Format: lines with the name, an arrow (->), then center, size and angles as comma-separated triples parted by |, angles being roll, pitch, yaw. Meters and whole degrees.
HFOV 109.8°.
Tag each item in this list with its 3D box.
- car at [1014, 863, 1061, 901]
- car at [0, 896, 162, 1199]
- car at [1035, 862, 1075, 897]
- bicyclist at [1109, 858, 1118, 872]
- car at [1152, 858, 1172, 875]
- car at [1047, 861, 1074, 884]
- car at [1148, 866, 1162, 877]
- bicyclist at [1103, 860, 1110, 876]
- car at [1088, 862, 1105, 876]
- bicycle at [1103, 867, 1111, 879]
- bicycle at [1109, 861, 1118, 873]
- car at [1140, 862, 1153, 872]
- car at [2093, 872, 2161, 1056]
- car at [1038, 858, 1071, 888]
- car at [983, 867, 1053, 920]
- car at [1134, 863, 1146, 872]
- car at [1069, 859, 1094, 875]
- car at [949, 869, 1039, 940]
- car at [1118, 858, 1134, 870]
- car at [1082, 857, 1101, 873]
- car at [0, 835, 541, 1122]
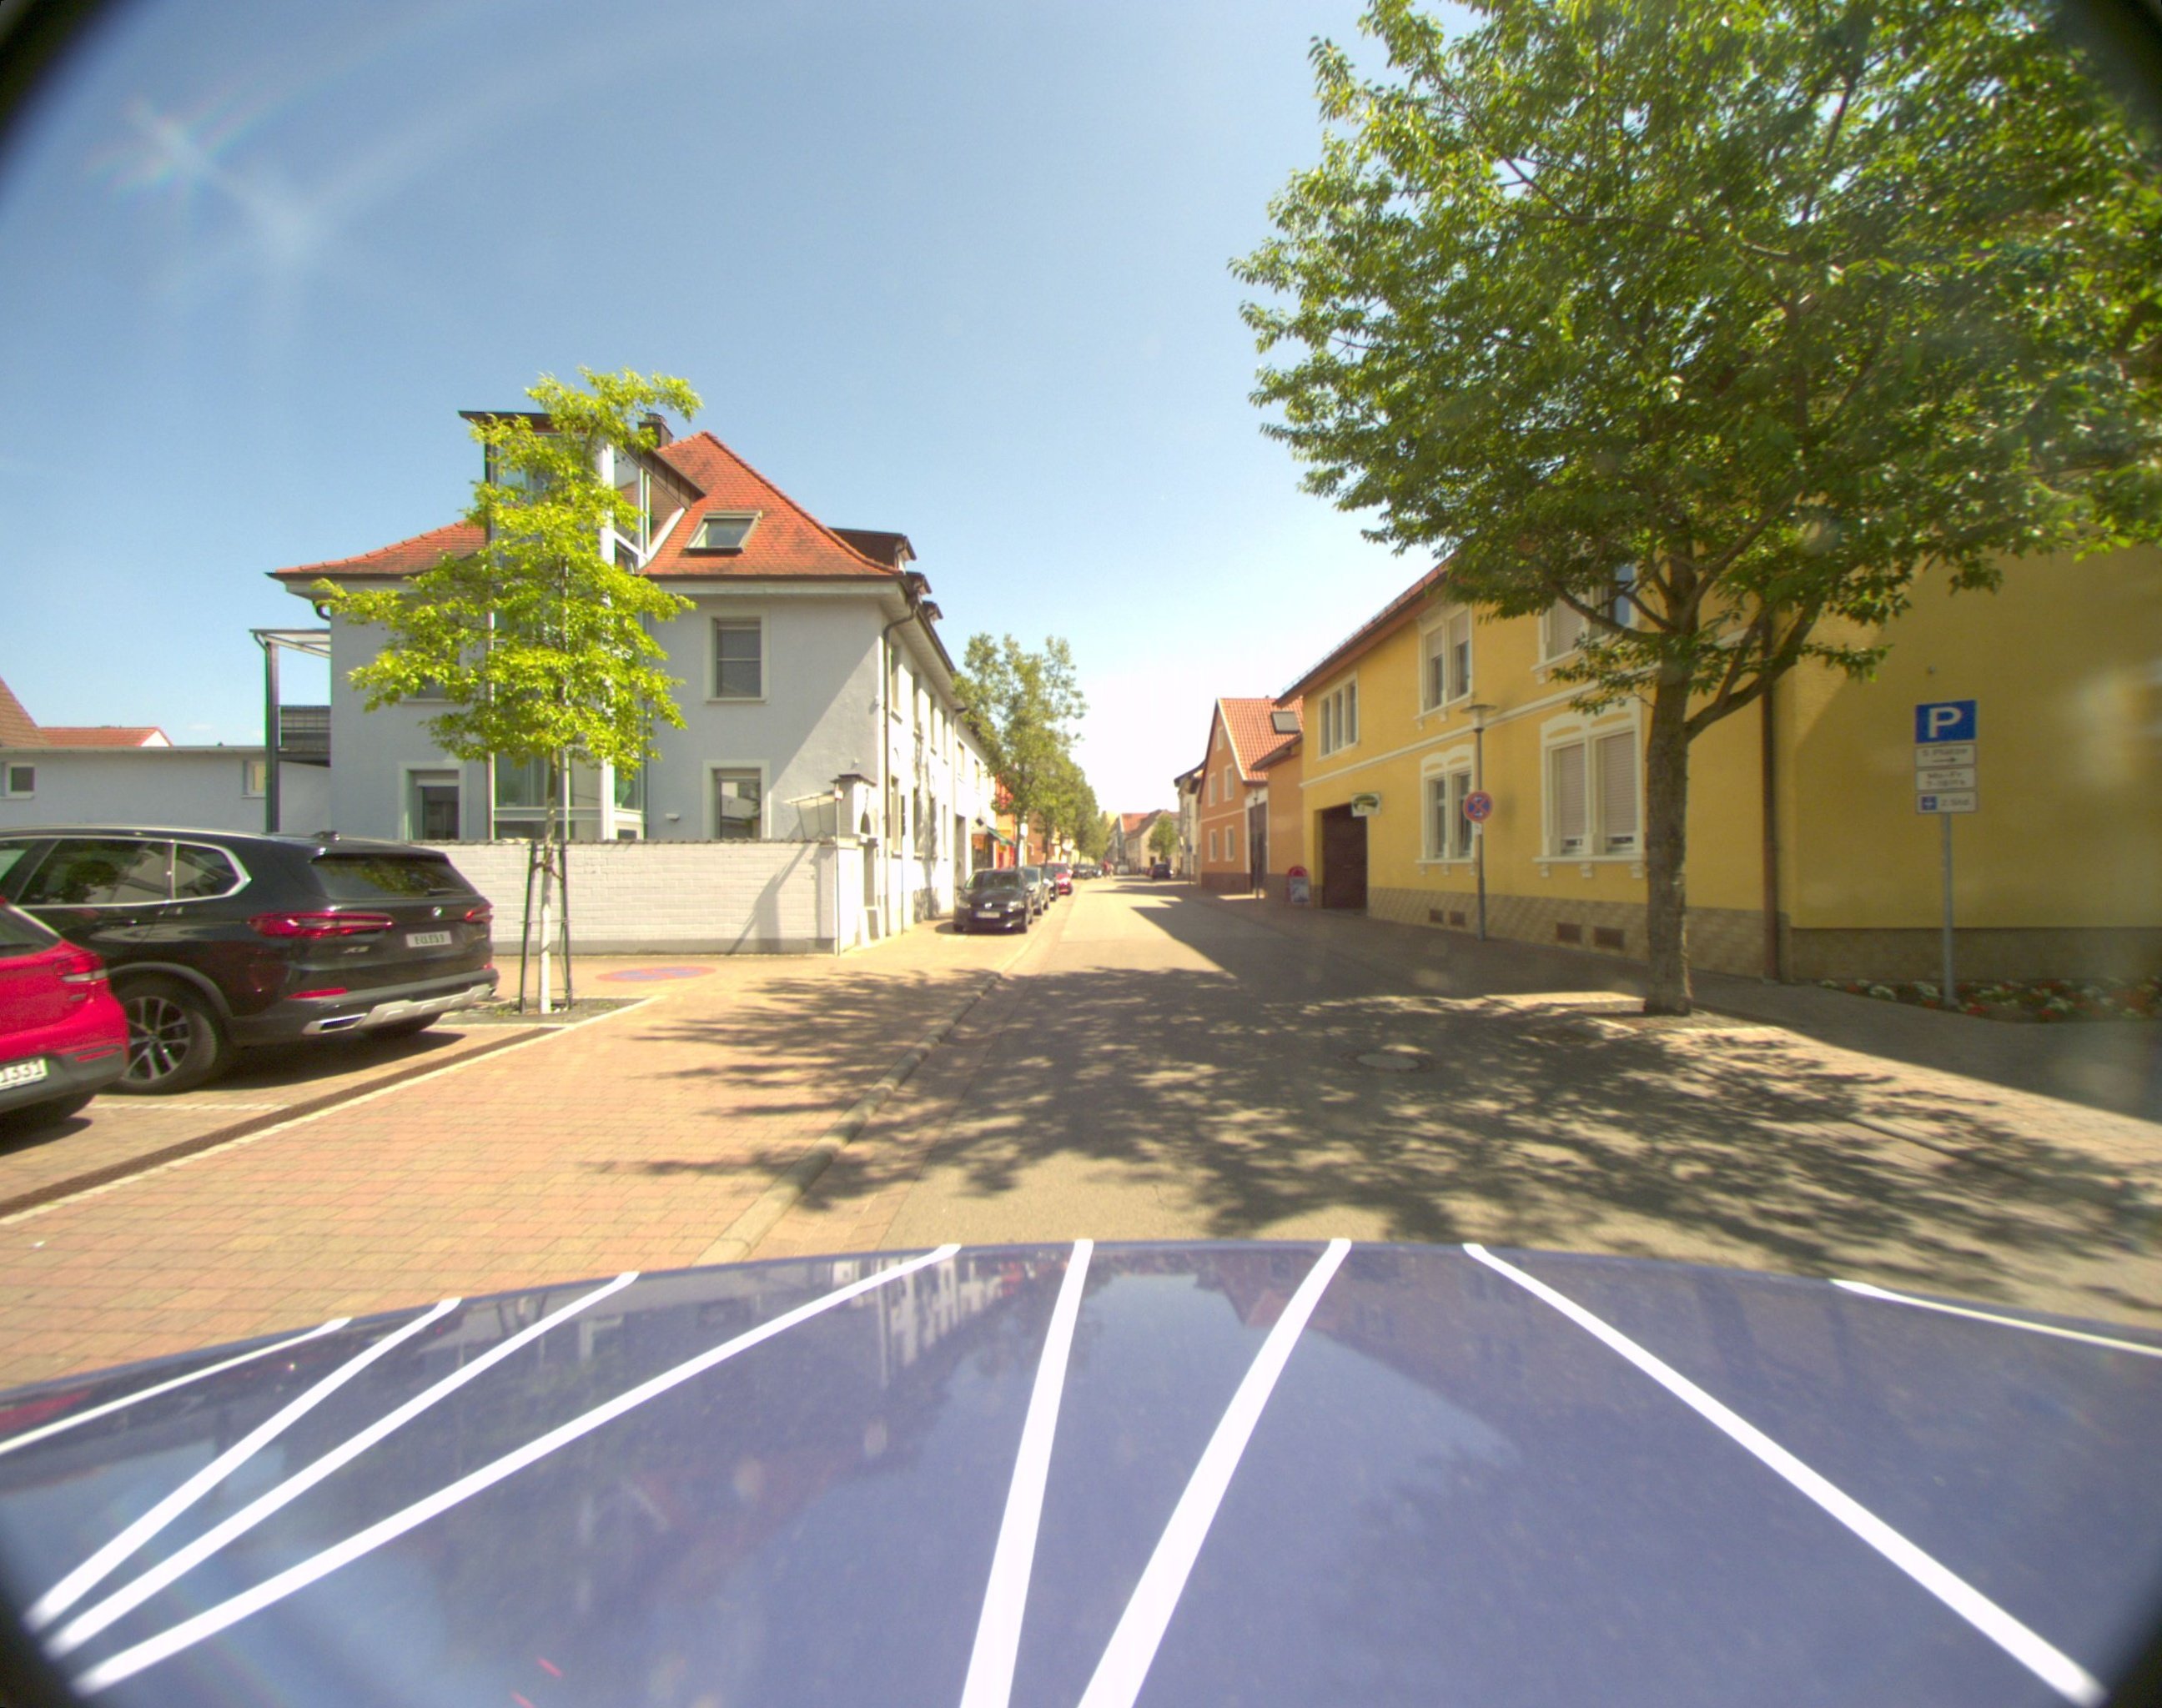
car -> -1.766, 1.142, 31.833 | 1.741, 1.504, 3.736 | 0, -1, 0
car -> -7.144, 0.924, 3.376 | 3.740, 1.444, 1.744 | 2, -1, -5
car -> -1.303, 1.215, 37.955 | 1.834, 1.579, 4.087 | -1, 0, -2
bicyclist -> 3.766, 1.245, 88.194 | 1.028, 1.635, 1.025 | 0, 0, 4
car -> 8.110, 1.228, 75.751 | 1.862, 1.620, 4.049 | 0, 0, 7
car -> -1.391, 1.246, 52.781 | 1.715, 1.534, 3.998 | 0, -1, 1
car -> 10.324, 2.479, 106.248 | 1.571, 1.452, 3.803 | 2, -2, 0
bicyclist -> 2.810, 1.532, 82.274 | 0.644, 1.766, 0.722 | 2, -2, 7
car -> 1.979, 1.927, 97.817 | 1.998, 1.759, 4.110 | 0, 0, 4
bicycle -> 2.789, 2.073, 82.237 | 0.635, 1.227, 1.895 | 2, -2, 7
bicycle -> 3.728, 1.508, 88.032 | 0.959, 1.362, 2.407 | 0, 0, 5
car -> 10.358, 2.057, 120.063 | 1.572, 1.452, 3.801 | 0, 0, -3
car -> 10.484, 0.802, 5.447 | 3.998, 1.422, 1.972 | -2, -1, -3
car -> -1.571, 1.114, 46.567 | 1.871, 1.674, 4.661 | -2, 0, -1
car -> -1.886, 1.167, 24.028 | 1.721, 1.472, 4.096 | 1, 0, 2
car -> 9.869, 2.268, 127.840 | 1.572, 1.452, 3.801 | 0, 0, -3
car -> 0.061, 1.251, 75.917 | 1.928, 1.594, 4.111 | 0, 0, 8
car -> -1.985, 1.130, 18.395 | 1.708, 1.472, 3.922 | 1, 0, 0
car -> 8.118, 1.855, 138.535 | 2.443, 2.223, 4.960 | 0, -1, -2
car -> 1.285, 1.284, 89.044 | 1.998, 1.759, 4.110 | 0, 0, 4
car -> -7.261, 0.776, 5.806 | 4.643, 1.760, 2.148 | 1, -1, -2
